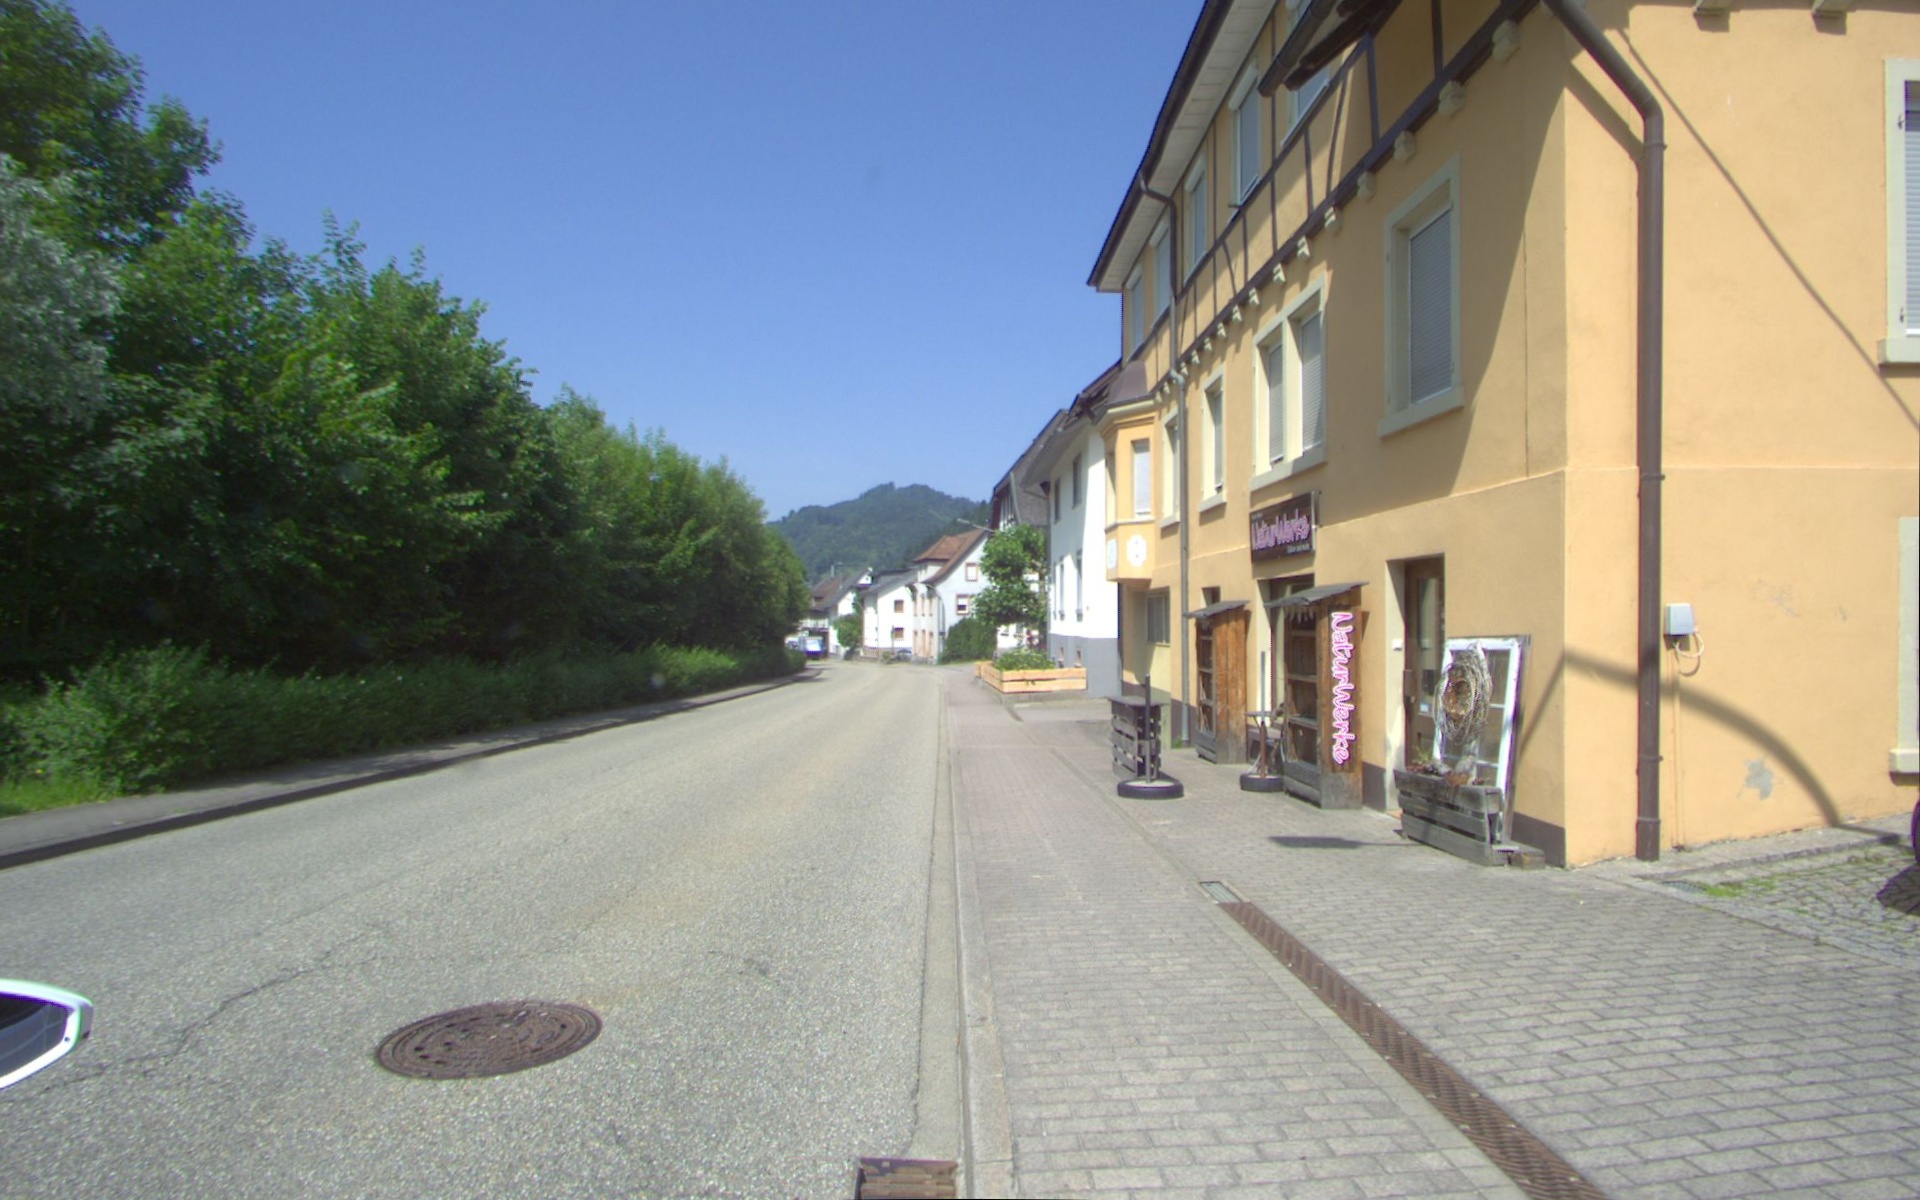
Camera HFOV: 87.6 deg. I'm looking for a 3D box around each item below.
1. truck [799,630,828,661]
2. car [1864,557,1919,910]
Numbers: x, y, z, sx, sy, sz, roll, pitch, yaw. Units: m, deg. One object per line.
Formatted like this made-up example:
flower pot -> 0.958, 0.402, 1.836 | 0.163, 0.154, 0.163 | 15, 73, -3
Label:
truck -> -21.011, 6.597, 143.509 | 3.311, 3.826, 8.443 | -3, -4, -13
car -> 5.537, 0.421, 3.917 | 2.611, 1.554, 1.427 | -6, -4, -5
